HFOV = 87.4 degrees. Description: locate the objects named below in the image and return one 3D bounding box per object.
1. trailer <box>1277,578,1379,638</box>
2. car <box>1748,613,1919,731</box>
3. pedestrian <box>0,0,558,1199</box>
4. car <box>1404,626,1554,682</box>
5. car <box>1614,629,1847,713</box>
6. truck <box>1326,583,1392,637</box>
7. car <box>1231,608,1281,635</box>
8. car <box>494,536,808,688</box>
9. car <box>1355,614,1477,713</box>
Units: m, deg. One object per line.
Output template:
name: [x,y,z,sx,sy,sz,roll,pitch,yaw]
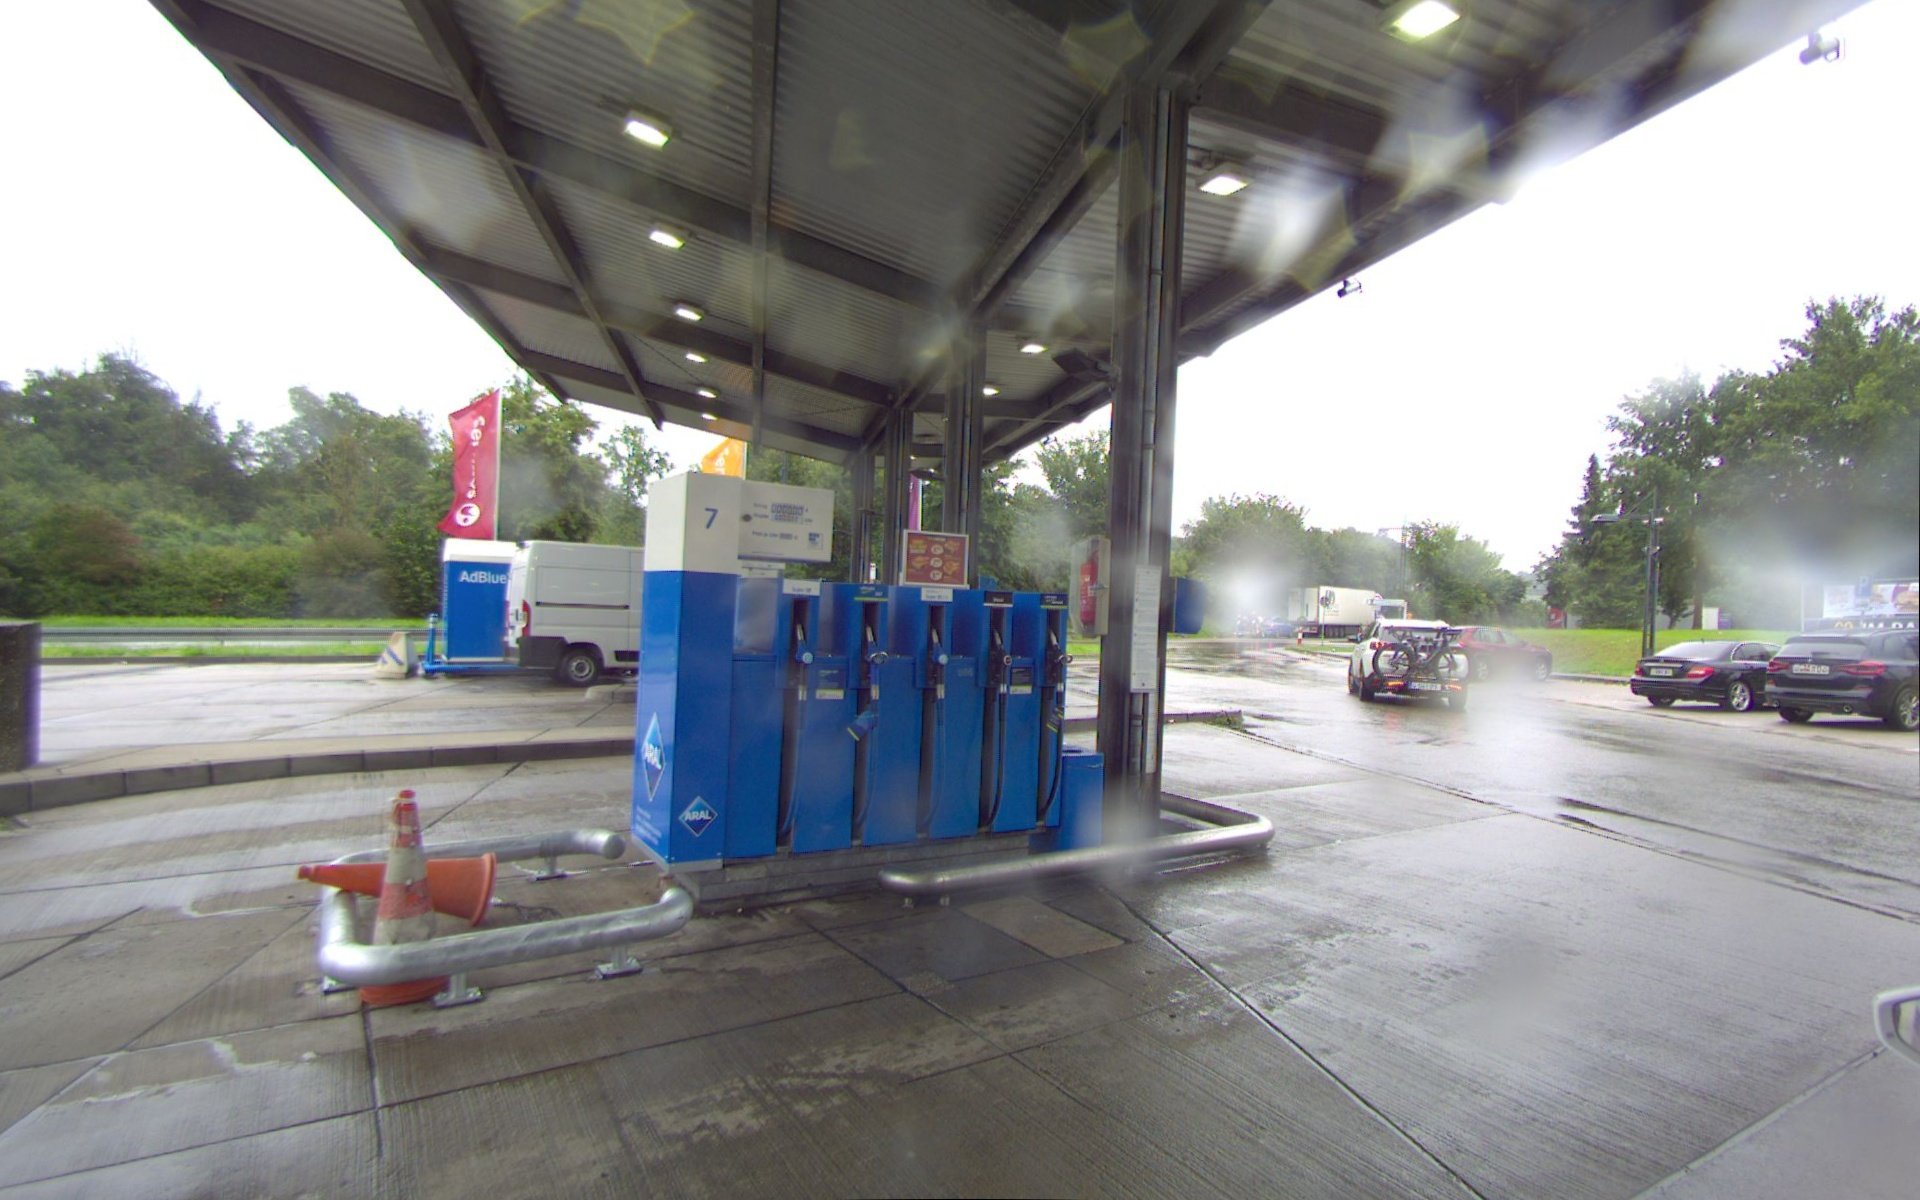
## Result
trailer: [30.928,0.748,83.862,3.416,4.618,13.847,2,0,40]
car: [16.163,1.190,17.411,4.344,1.852,1.883,1,-1,-19]
pedestrian: [-0.746,0.602,0.551,0.830,1.757,0.790,2,-1,-31]
car: [16.014,1.645,30.977,4.294,1.617,1.879,1,-1,-24]
car: [15.950,1.418,20.830,4.119,1.585,1.883,1,-1,-19]
truck: [35.601,0.918,89.465,3.416,4.618,6.704,2,0,40]
car: [20.932,1.498,70.848,1.903,1.862,4.373,1,0,38]
car: [-5.746,0.266,18.941,5.227,2.496,2.306,1,-1,-34]
car: [8.611,1.093,19.335,1.784,1.586,5.003,1,0,21]
